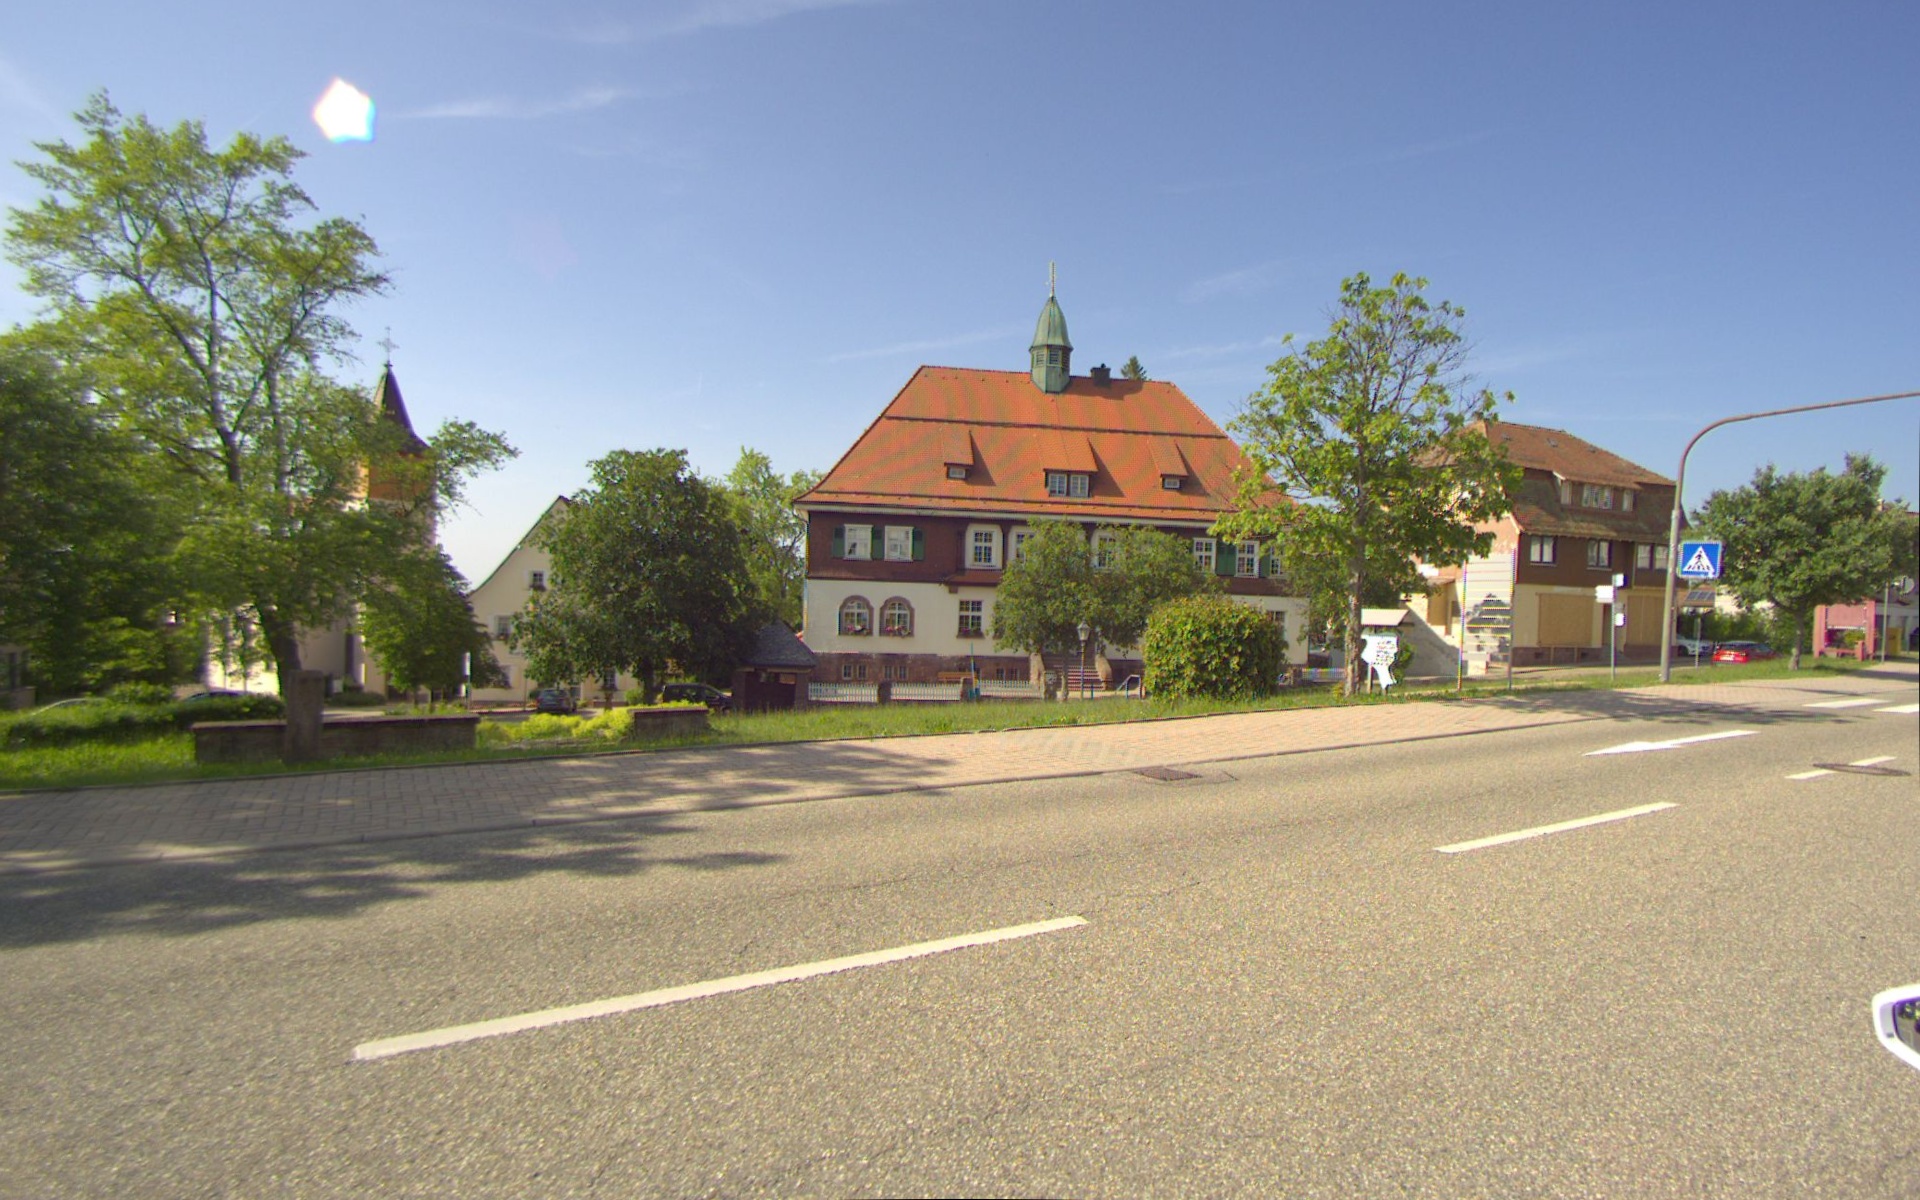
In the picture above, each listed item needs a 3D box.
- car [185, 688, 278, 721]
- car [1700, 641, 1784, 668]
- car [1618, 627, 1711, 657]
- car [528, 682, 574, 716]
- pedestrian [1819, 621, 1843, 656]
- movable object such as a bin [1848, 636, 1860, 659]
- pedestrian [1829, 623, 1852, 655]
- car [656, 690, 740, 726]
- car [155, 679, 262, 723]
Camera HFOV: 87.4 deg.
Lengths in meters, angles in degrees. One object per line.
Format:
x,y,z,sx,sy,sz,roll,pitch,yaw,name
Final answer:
-41.341,5.909,57.118,3.948,1.684,1.987,1,-3,-27,car
39.737,2.739,51.040,3.945,1.314,1.716,1,-2,-24,car
43.092,2.540,61.495,1.778,1.531,4.284,3,0,-28,car
-22.546,5.428,55.461,1.968,1.639,3.987,1,-3,-17,car
34.970,1.548,40.313,0.668,1.382,0.612,0,-1,-40,pedestrian
33.771,1.802,37.939,0.481,0.848,0.302,2,-1,-41,movable object such as a bin
35.538,1.582,40.551,0.420,1.269,0.623,2,-2,-41,pedestrian
-11.718,4.842,45.068,3.437,1.486,1.576,0,-2,-7,car
-37.690,5.040,50.477,3.948,2.040,1.987,1,-3,-27,car
